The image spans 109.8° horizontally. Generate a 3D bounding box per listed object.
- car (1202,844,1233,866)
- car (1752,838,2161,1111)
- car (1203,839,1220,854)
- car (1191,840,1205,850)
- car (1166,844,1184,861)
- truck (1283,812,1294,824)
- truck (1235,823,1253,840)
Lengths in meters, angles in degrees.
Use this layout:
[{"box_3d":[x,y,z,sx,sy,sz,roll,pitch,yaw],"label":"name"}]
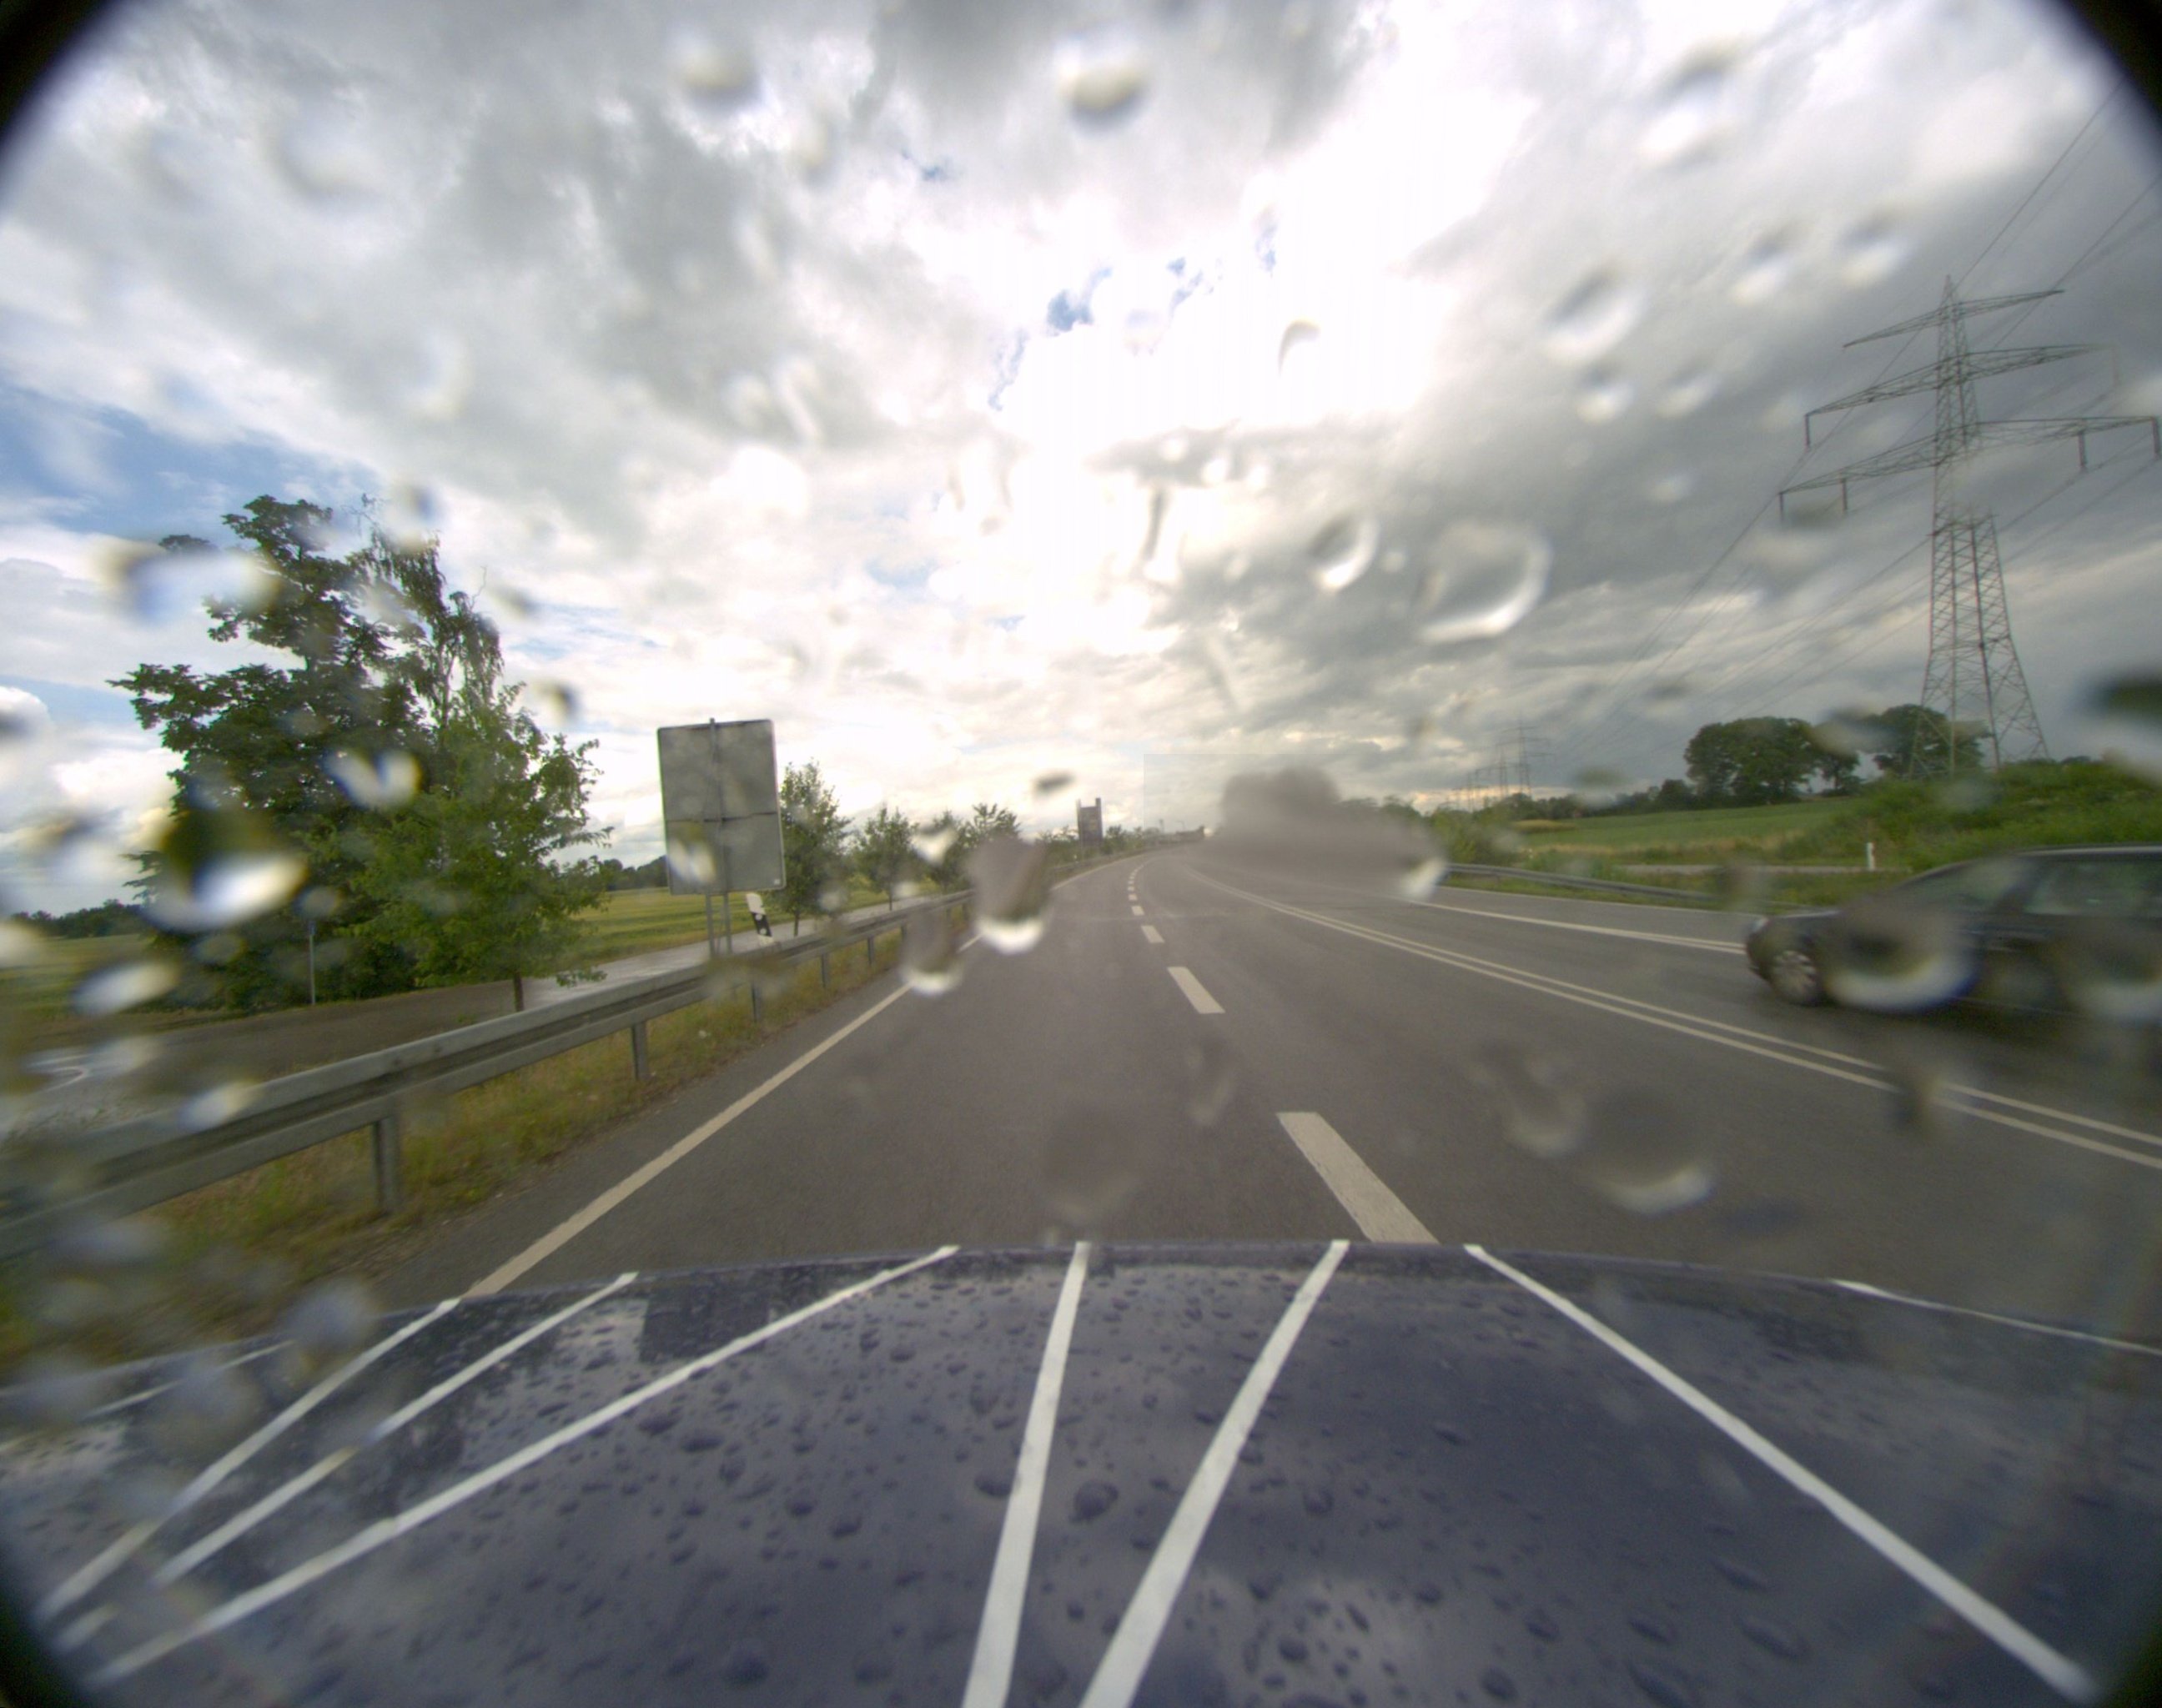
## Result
[{"box_3d":[10.472,0.069,58.613,1.709,1.471,4.610,-2,2,2],"label":"car"},{"box_3d":[7.288,0.703,5.103,1.804,1.584,4.225,-2,0,0],"label":"car"},{"box_3d":[14.626,-0.897,85.179,1.802,1.566,4.261,-1,2,10],"label":"car"},{"box_3d":[19.864,-1.544,128.874,1.746,1.488,4.055,-3,0,18],"label":"car"},{"box_3d":[10.753,-0.214,87.024,1.795,1.758,4.002,-3,0,9],"label":"car"},{"box_3d":[63.095,-10.916,230.984,2.483,3.273,7.289,-3,1,20],"label":"truck"},{"box_3d":[32.034,-4.414,149.303,2.258,3.138,6.698,0,2,21],"label":"truck"}]
